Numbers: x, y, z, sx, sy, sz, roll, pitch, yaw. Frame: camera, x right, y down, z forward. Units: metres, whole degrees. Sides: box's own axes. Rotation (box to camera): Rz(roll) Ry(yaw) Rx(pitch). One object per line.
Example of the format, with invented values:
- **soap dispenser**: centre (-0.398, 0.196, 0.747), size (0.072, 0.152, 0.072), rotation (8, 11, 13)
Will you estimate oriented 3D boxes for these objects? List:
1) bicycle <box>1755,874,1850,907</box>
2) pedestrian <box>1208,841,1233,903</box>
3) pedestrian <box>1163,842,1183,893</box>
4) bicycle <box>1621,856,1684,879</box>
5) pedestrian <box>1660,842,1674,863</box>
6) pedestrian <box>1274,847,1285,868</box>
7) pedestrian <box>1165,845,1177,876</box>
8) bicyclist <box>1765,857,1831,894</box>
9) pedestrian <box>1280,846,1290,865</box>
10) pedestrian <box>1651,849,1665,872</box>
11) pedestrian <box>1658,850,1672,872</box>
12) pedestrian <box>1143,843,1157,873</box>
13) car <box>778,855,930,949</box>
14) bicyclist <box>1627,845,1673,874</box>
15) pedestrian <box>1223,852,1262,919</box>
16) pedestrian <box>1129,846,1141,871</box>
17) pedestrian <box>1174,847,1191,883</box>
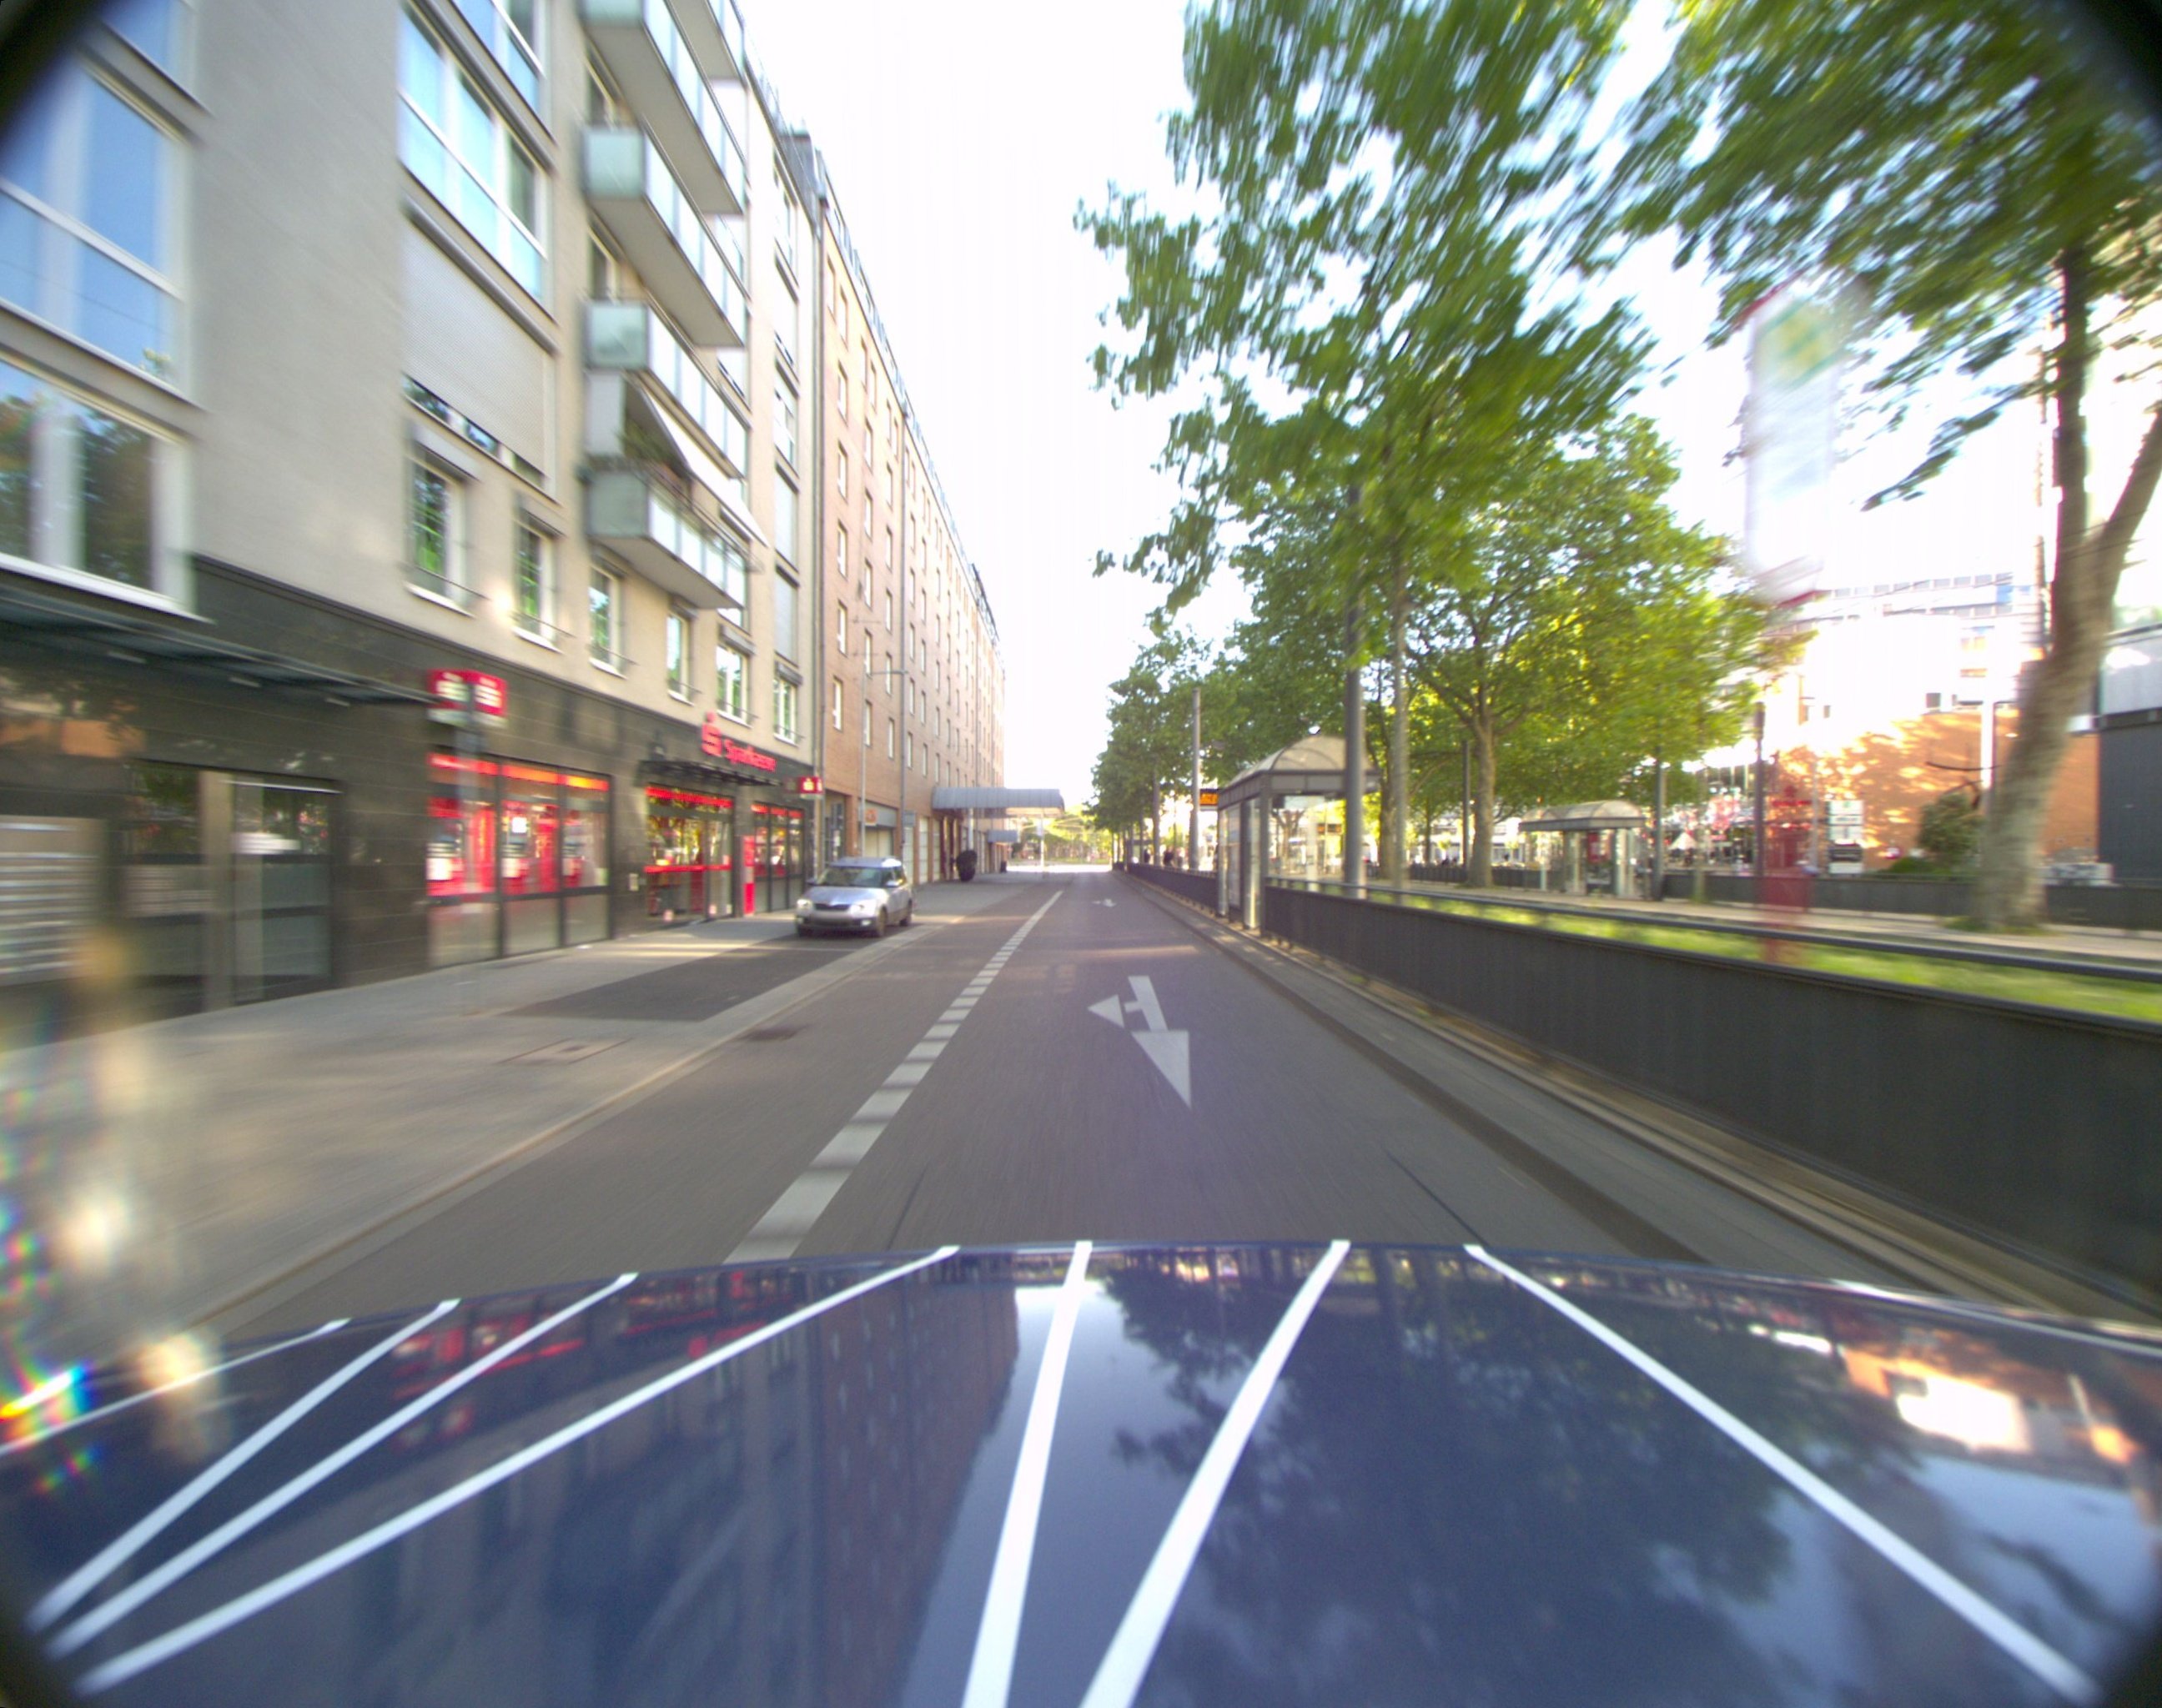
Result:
- **bicycle**: centre (25.223, 1.256, 26.633), size (0.802, 0.991, 2.585), rotation (-2, 0, -2)
- **pedestrian**: centre (4.279, 0.544, 23.363), size (0.647, 1.861, 0.753), rotation (-1, 1, 1)
- **pedestrian**: centre (3.388, 0.485, 27.926), size (0.647, 1.876, 0.661), rotation (0, 1, 0)
- **bicycle**: centre (25.507, 0.590, 33.985), size (0.802, 0.991, 2.585), rotation (-2, 0, -2)
- **pedestrian**: centre (44.776, -0.089, 58.039), size (0.579, 1.595, 0.597), rotation (-1, 1, 0)
- **pedestrian**: centre (16.153, 0.276, 61.753), size (0.669, 1.632, 0.669), rotation (-1, 1, -11)
- **pedestrian**: centre (5.441, 0.397, 45.977), size (0.648, 1.829, 0.638), rotation (0, 1, 0)
- **bicyclist**: centre (25.193, 0.747, 26.740), size (1.007, 1.243, 1.374), rotation (-2, 0, -2)
- **pedestrian**: centre (15.915, 0.117, 59.235), size (0.554, 1.488, 0.550), rotation (0, 1, -11)
- **pedestrian**: centre (40.669, 0.457, 53.535), size (0.579, 1.595, 0.580), rotation (0, 1, 5)
- **pedestrian**: centre (41.264, 0.493, 53.707), size (0.579, 1.595, 0.598), rotation (0, 1, 5)
- **pedestrian**: centre (4.168, 0.265, 45.979), size (0.708, 1.791, 0.826), rotation (0, 1, -7)
- **car**: centre (-4.612, 0.885, 16.147), size (1.837, 1.613, 4.284), rotation (3, 1, 1)
- **bicyclist**: centre (25.479, 0.243, 34.053), size (1.007, 1.243, 1.374), rotation (-2, 0, -2)
- **pedestrian**: centre (3.242, 0.609, 15.288), size (0.628, 1.312, 0.801), rotation (0, 1, 1)
- **pedestrian**: centre (3.759, 0.307, 53.078), size (0.742, 1.680, 0.645), rotation (-2, 1, -1)
- **pedestrian**: centre (4.770, 0.503, 35.778), size (0.731, 1.692, 0.863), rotation (-1, 1, 2)
